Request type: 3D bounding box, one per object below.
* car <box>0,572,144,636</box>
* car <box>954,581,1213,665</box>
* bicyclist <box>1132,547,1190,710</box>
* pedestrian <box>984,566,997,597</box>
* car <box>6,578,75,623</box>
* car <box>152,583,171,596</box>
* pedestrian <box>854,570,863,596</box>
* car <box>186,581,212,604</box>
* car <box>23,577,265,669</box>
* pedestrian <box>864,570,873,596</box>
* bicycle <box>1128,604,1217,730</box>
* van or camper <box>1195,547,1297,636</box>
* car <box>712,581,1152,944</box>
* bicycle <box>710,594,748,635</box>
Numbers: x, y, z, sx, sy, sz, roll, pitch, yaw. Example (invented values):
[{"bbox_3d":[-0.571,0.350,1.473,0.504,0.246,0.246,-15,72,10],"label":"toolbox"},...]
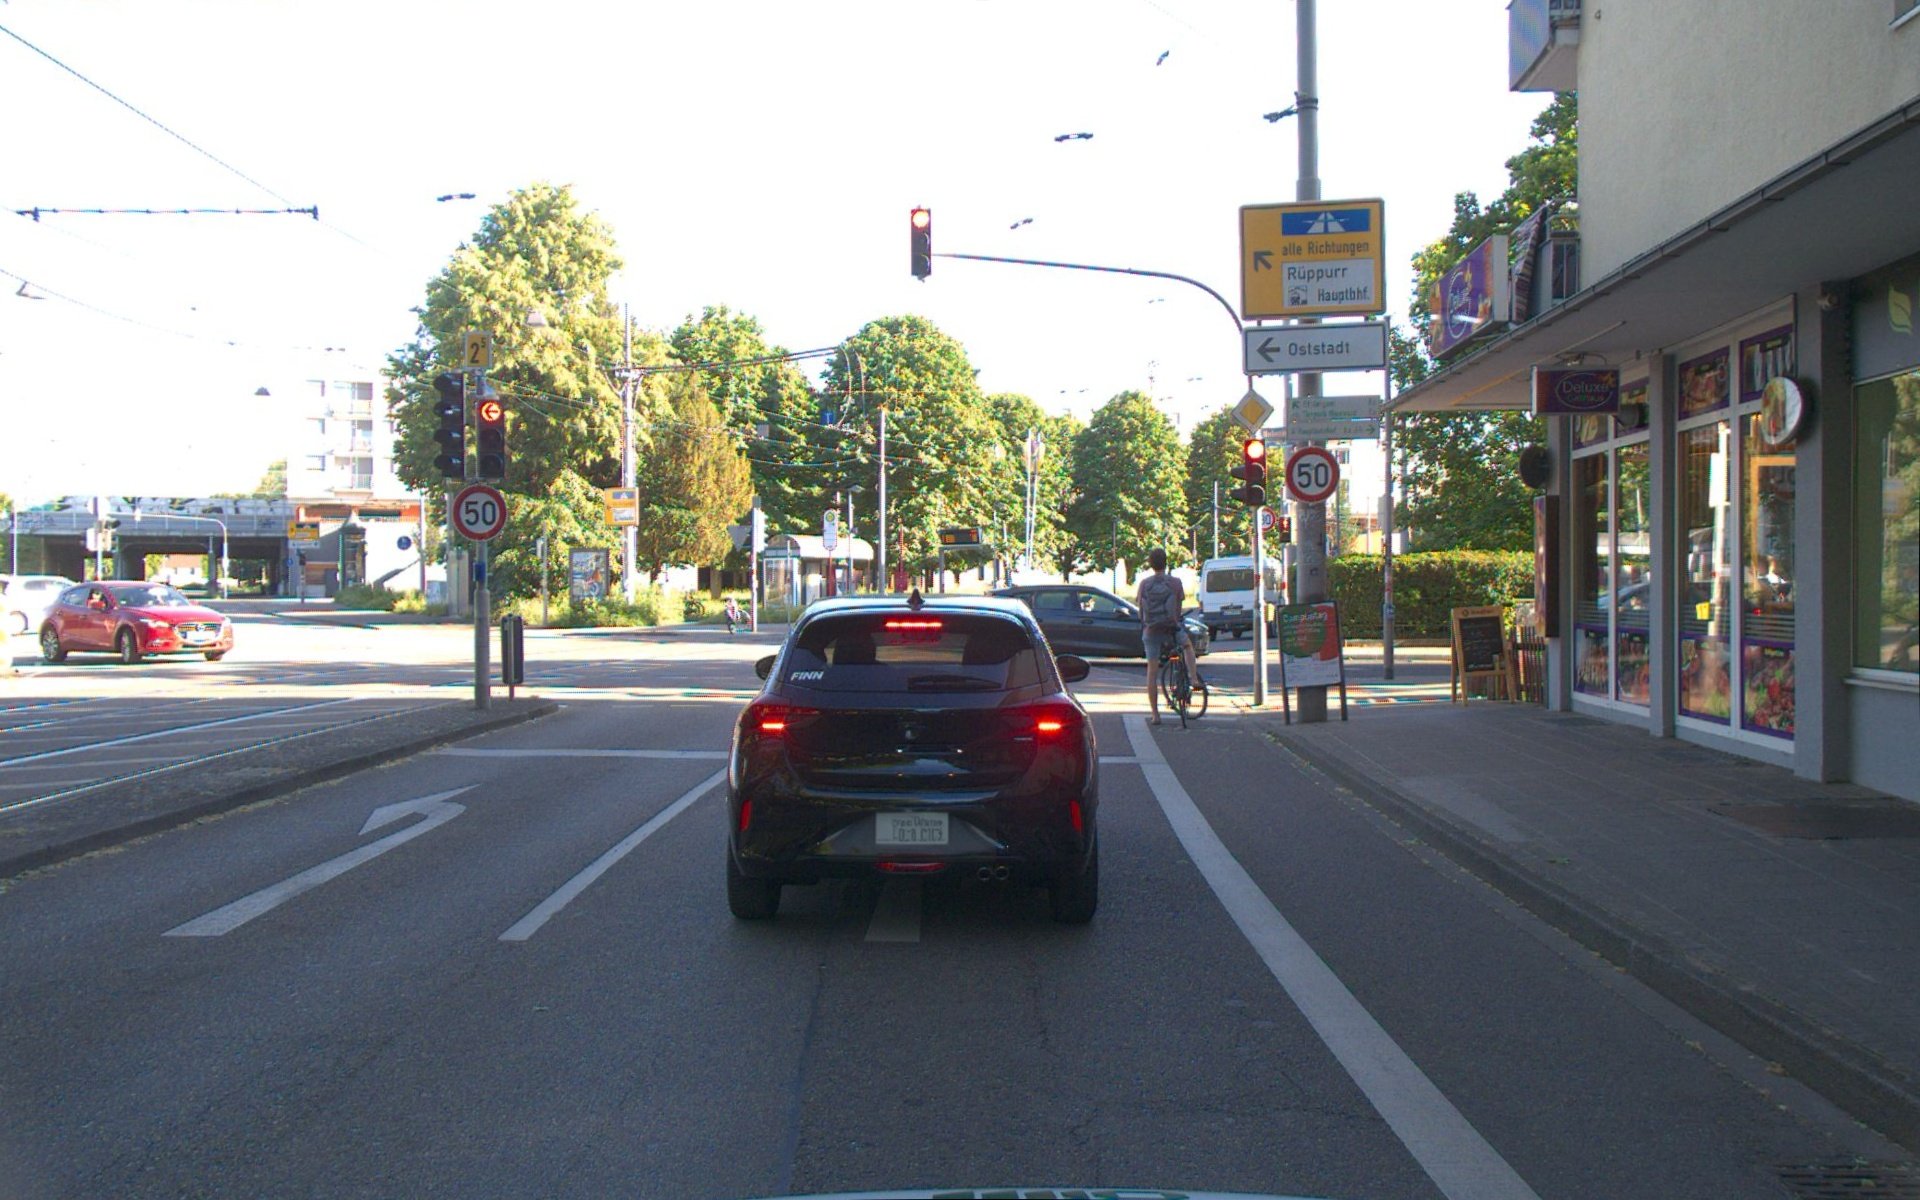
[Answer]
[{"bbox_3d":[-23.816,0.112,43.264,1.951,1.579,4.195,1,0,23],"label":"car"},{"bbox_3d":[2.275,0.398,30.581,4.626,1.499,1.941,0,0,4],"label":"car"},{"bbox_3d":[2.167,0.296,17.807,0.522,1.722,0.568,0,0,16],"label":"bicyclist"},{"bbox_3d":[1.929,-1.178,104.696,0.598,1.904,0.513,1,-1,-34],"label":"pedestrian"},{"bbox_3d":[-34.613,0.023,62.328,1.860,1.613,3.809,1,0,-24],"label":"car"},{"bbox_3d":[-82.248,-1.061,170.326,1.562,1.282,3.394,-1,1,-30],"label":"car"},{"bbox_3d":[-7.555,-1.262,123.434,0.592,1.904,0.519,1,-1,-7],"label":"pedestrian"},{"bbox_3d":[-59.238,-0.572,128.776,1.732,1.713,3.712,1,0,-25],"label":"car"},{"bbox_3d":[-15.168,0.379,30.707,4.395,1.592,2.018,0,1,31],"label":"car"},{"bbox_3d":[-6.782,-1.254,122.265,0.592,1.904,0.519,1,-1,-7],"label":"pedestrian"},{"bbox_3d":[2.325,0.691,17.945,0.737,1.256,2.017,0,1,14],"label":"bicycle"},{"bbox_3d":[8.080,-0.221,46.433,1.987,2.351,4.540,1,0,20],"label":"van or camper"},{"bbox_3d":[-0.142,0.649,8.796,1.803,1.487,3.983,0,1,-1],"label":"car"},{"bbox_3d":[-6.430,0.383,46.118,0.780,1.083,2.184,0,1,-1],"label":"bicycle"}]
